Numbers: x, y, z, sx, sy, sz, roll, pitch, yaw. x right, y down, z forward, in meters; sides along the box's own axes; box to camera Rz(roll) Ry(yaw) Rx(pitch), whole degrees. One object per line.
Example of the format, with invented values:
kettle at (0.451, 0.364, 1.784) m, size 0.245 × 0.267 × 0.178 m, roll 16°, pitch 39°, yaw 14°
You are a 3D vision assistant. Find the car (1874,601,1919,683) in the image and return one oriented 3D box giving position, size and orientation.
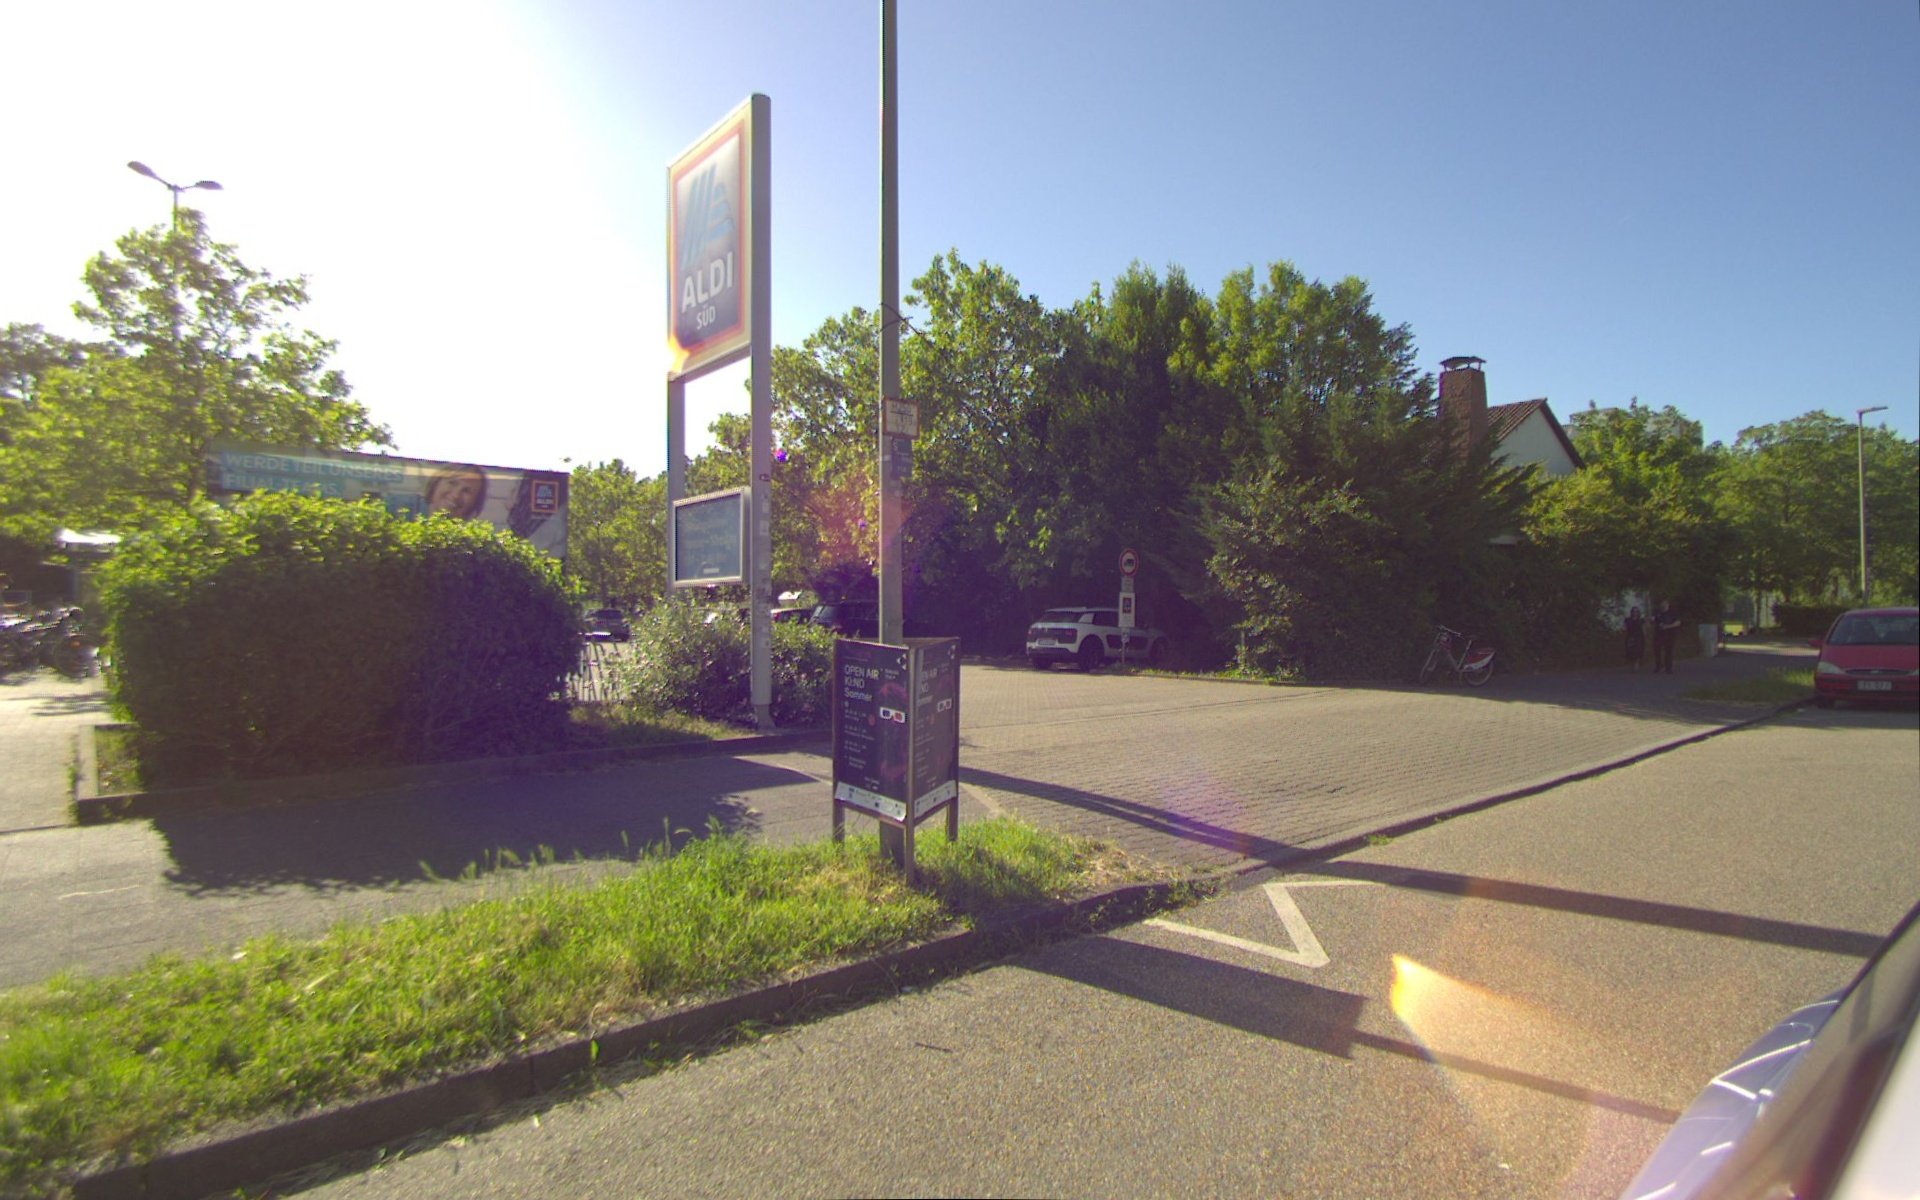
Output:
car at (21.439, 0.869, 22.072) m, size 4.277 × 1.677 × 1.727 m, roll 1°, pitch -1°, yaw -41°

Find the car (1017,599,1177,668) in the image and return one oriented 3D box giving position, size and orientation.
car at (3.309, 0.760, 24.115) m, size 3.735 × 1.523 × 1.775 m, roll 1°, pitch -1°, yaw -41°

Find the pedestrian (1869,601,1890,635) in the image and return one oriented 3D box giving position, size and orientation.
pedestrian at (45.002, 0.868, 49.539) m, size 0.629 × 1.659 × 0.641 m, roll 1°, pitch -1°, yaw -38°

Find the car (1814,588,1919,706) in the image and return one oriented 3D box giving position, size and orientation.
car at (16.459, 0.748, 17.490) m, size 4.570 × 1.828 × 1.843 m, roll 1°, pitch -1°, yaw -40°

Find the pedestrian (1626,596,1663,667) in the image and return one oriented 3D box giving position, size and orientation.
pedestrian at (16.236, 0.725, 24.018) m, size 0.779 × 1.629 × 0.573 m, roll -1°, pitch 2°, yaw -44°

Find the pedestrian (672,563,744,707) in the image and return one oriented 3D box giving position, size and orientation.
pedestrian at (-3.002, 0.405, 12.043) m, size 0.760 × 1.652 × 0.695 m, roll 0°, pitch -1°, yaw -19°

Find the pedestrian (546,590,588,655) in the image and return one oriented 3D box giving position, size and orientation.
pedestrian at (-10.278, 0.575, 26.470) m, size 0.814 × 1.677 × 0.672 m, roll 1°, pitch -1°, yaw -42°

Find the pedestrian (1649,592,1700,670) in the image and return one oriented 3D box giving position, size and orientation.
pedestrian at (16.573, 0.686, 23.480) m, size 0.968 × 1.738 × 0.804 m, roll -1°, pitch 2°, yaw -44°

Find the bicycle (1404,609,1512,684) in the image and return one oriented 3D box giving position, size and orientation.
bicycle at (8.952, 0.814, 18.178) m, size 1.857 × 1.236 × 0.724 m, roll -1°, pitch 1°, yaw -25°
